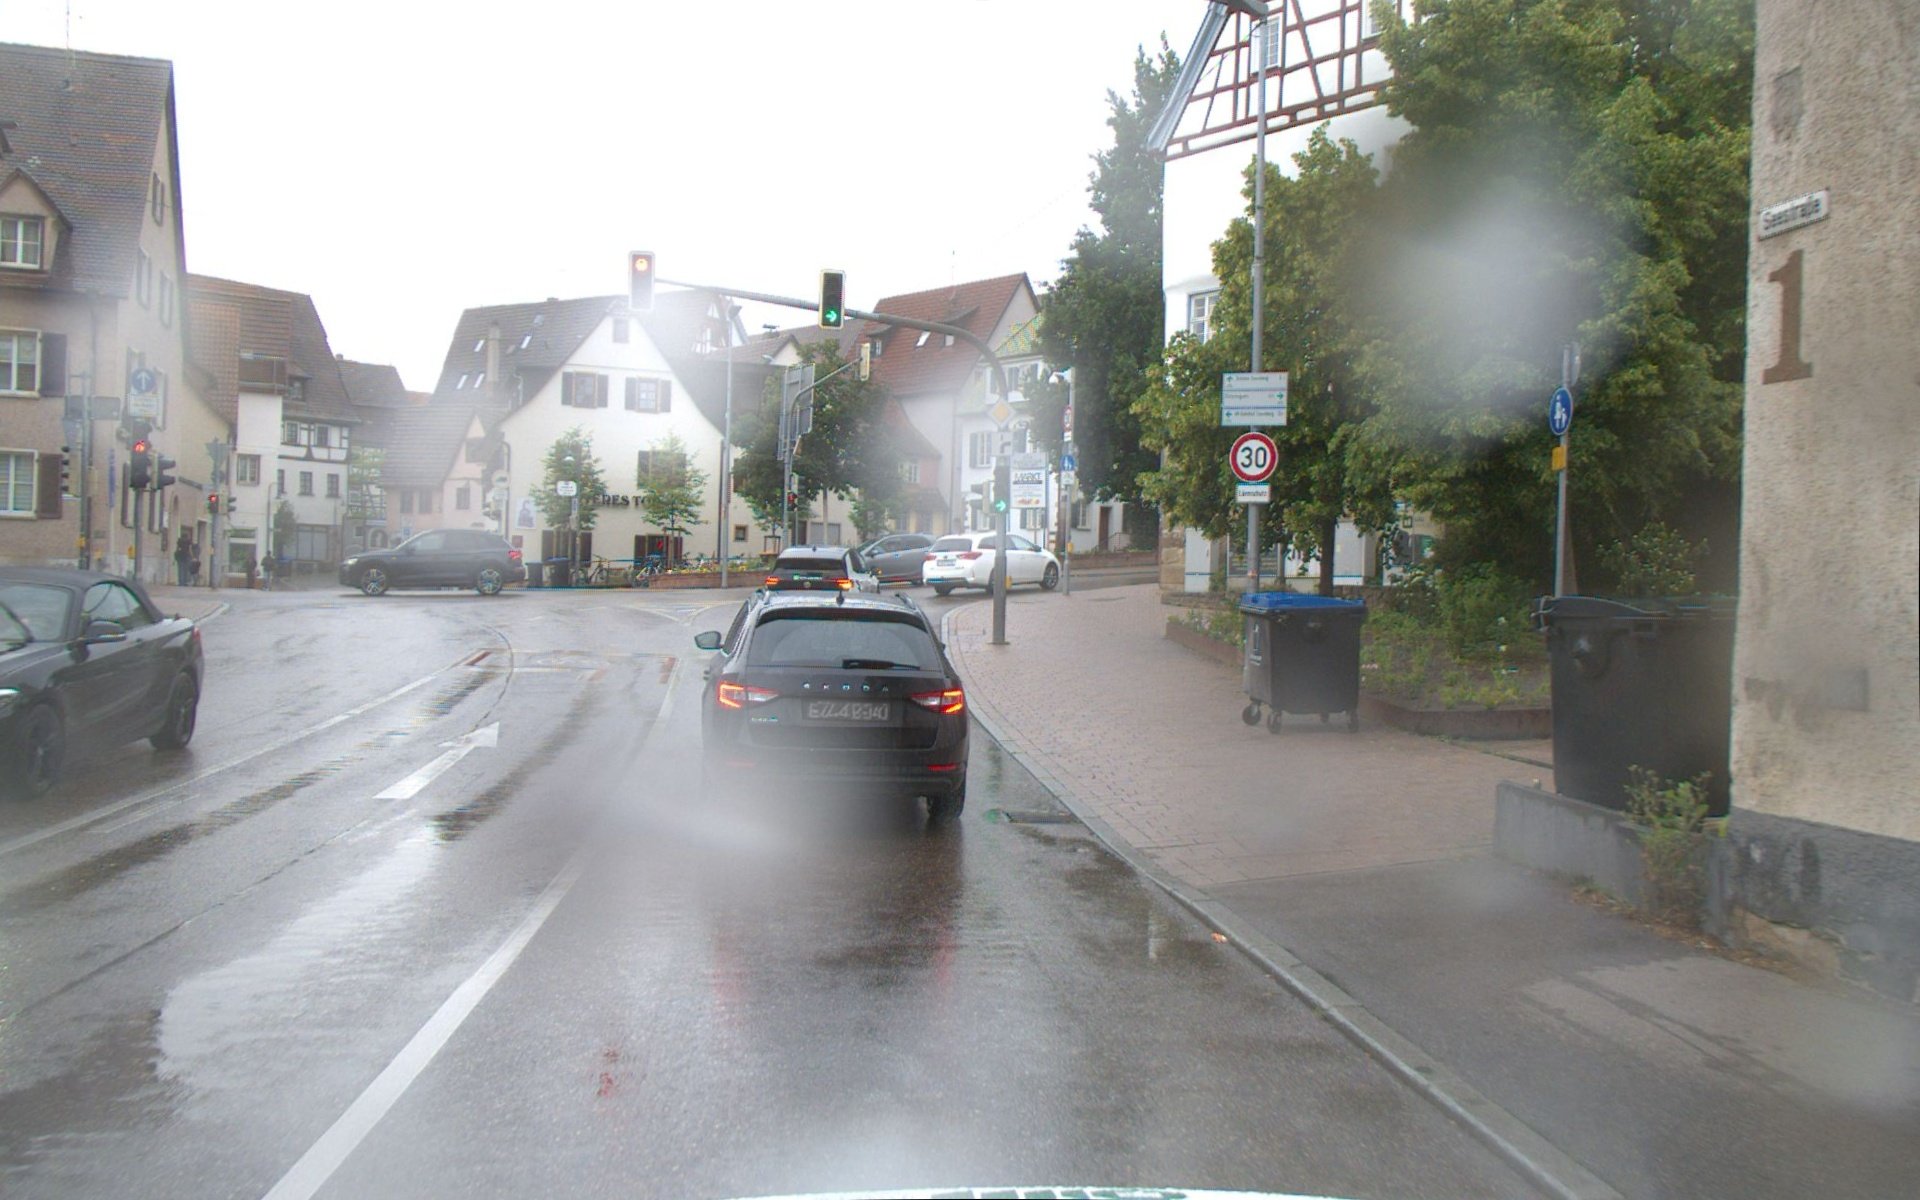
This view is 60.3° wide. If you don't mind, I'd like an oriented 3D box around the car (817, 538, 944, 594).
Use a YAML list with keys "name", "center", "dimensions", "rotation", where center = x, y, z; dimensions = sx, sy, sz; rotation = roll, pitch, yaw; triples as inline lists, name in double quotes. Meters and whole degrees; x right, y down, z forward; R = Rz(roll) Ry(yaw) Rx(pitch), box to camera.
- name: "car"
  center: [-2.242, -0.966, 46.599]
  dimensions: [3.323, 1.503, 1.529]
  rotation: [1, 1, -16]

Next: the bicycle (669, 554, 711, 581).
- name: "bicycle"
  center: [-9.530, -1.141, 58.367]
  dimensions: [1.456, 0.927, 0.387]
  rotation: [-1, 4, -40]

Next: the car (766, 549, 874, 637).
- name: "car"
  center: [-2.516, -0.166, 30.553]
  dimensions: [1.819, 1.498, 3.998]
  rotation: [1, 1, -3]

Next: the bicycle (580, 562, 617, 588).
- name: "bicycle"
  center: [-12.161, -0.836, 55.702]
  dimensions: [0.331, 0.832, 1.435]
  rotation: [4, 4, 29]

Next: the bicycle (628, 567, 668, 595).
- name: "bicycle"
  center: [-10.680, -0.654, 56.601]
  dimensions: [0.385, 0.928, 1.463]
  rotation: [1, 1, 38]

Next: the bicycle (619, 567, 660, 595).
- name: "bicycle"
  center: [-11.025, -0.660, 56.904]
  dimensions: [0.385, 0.928, 1.463]
  rotation: [1, 1, 38]

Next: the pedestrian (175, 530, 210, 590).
- name: "pedestrian"
  center: [-24.380, -1.291, 52.543]
  dimensions: [0.790, 1.862, 0.705]
  rotation: [-4, 4, -37]

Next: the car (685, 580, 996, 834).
- name: "car"
  center: [-0.794, 0.621, 12.149]
  dimensions: [1.849, 1.473, 4.356]
  rotation: [1, 1, -2]

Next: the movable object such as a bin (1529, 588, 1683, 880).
- name: "movable object such as a bin"
  center: [3.391, 0.681, 8.704]
  dimensions: [0.407, 1.467, 0.637]
  rotation: [1, -2, -30]

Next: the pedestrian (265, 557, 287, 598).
- name: "pedestrian"
  center: [-29.916, -0.970, 72.346]
  dimensions: [0.767, 1.762, 0.628]
  rotation: [-1, 3, -18]

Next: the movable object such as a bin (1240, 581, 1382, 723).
- name: "movable object such as a bin"
  center: [3.452, 0.491, 16.403]
  dimensions: [1.131, 1.336, 1.186]
  rotation: [1, 1, -1]

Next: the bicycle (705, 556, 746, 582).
- name: "bicycle"
  center: [-8.432, -1.112, 59.427]
  dimensions: [1.456, 0.927, 0.387]
  rotation: [-1, 4, -40]

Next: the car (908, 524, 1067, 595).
- name: "car"
  center: [0.740, -0.971, 40.979]
  dimensions: [1.853, 1.624, 4.311]
  rotation: [1, 0, 35]

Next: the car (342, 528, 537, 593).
- name: "car"
  center: [-13.339, -1.015, 42.484]
  dimensions: [4.662, 1.616, 1.820]
  rotation: [-1, 1, -20]

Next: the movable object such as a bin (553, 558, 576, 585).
- name: "movable object such as a bin"
  center: [-13.517, -0.966, 56.476]
  dimensions: [0.582, 0.917, 0.576]
  rotation: [0, 2, -38]

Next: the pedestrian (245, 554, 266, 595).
- name: "pedestrian"
  center: [-30.702, -1.117, 72.079]
  dimensions: [0.767, 1.762, 0.628]
  rotation: [-1, 3, -18]

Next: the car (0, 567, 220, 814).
- name: "car"
  center: [-6.744, 0.499, 11.348]
  dimensions: [1.825, 1.411, 4.257]
  rotation: [1, 1, -7]
